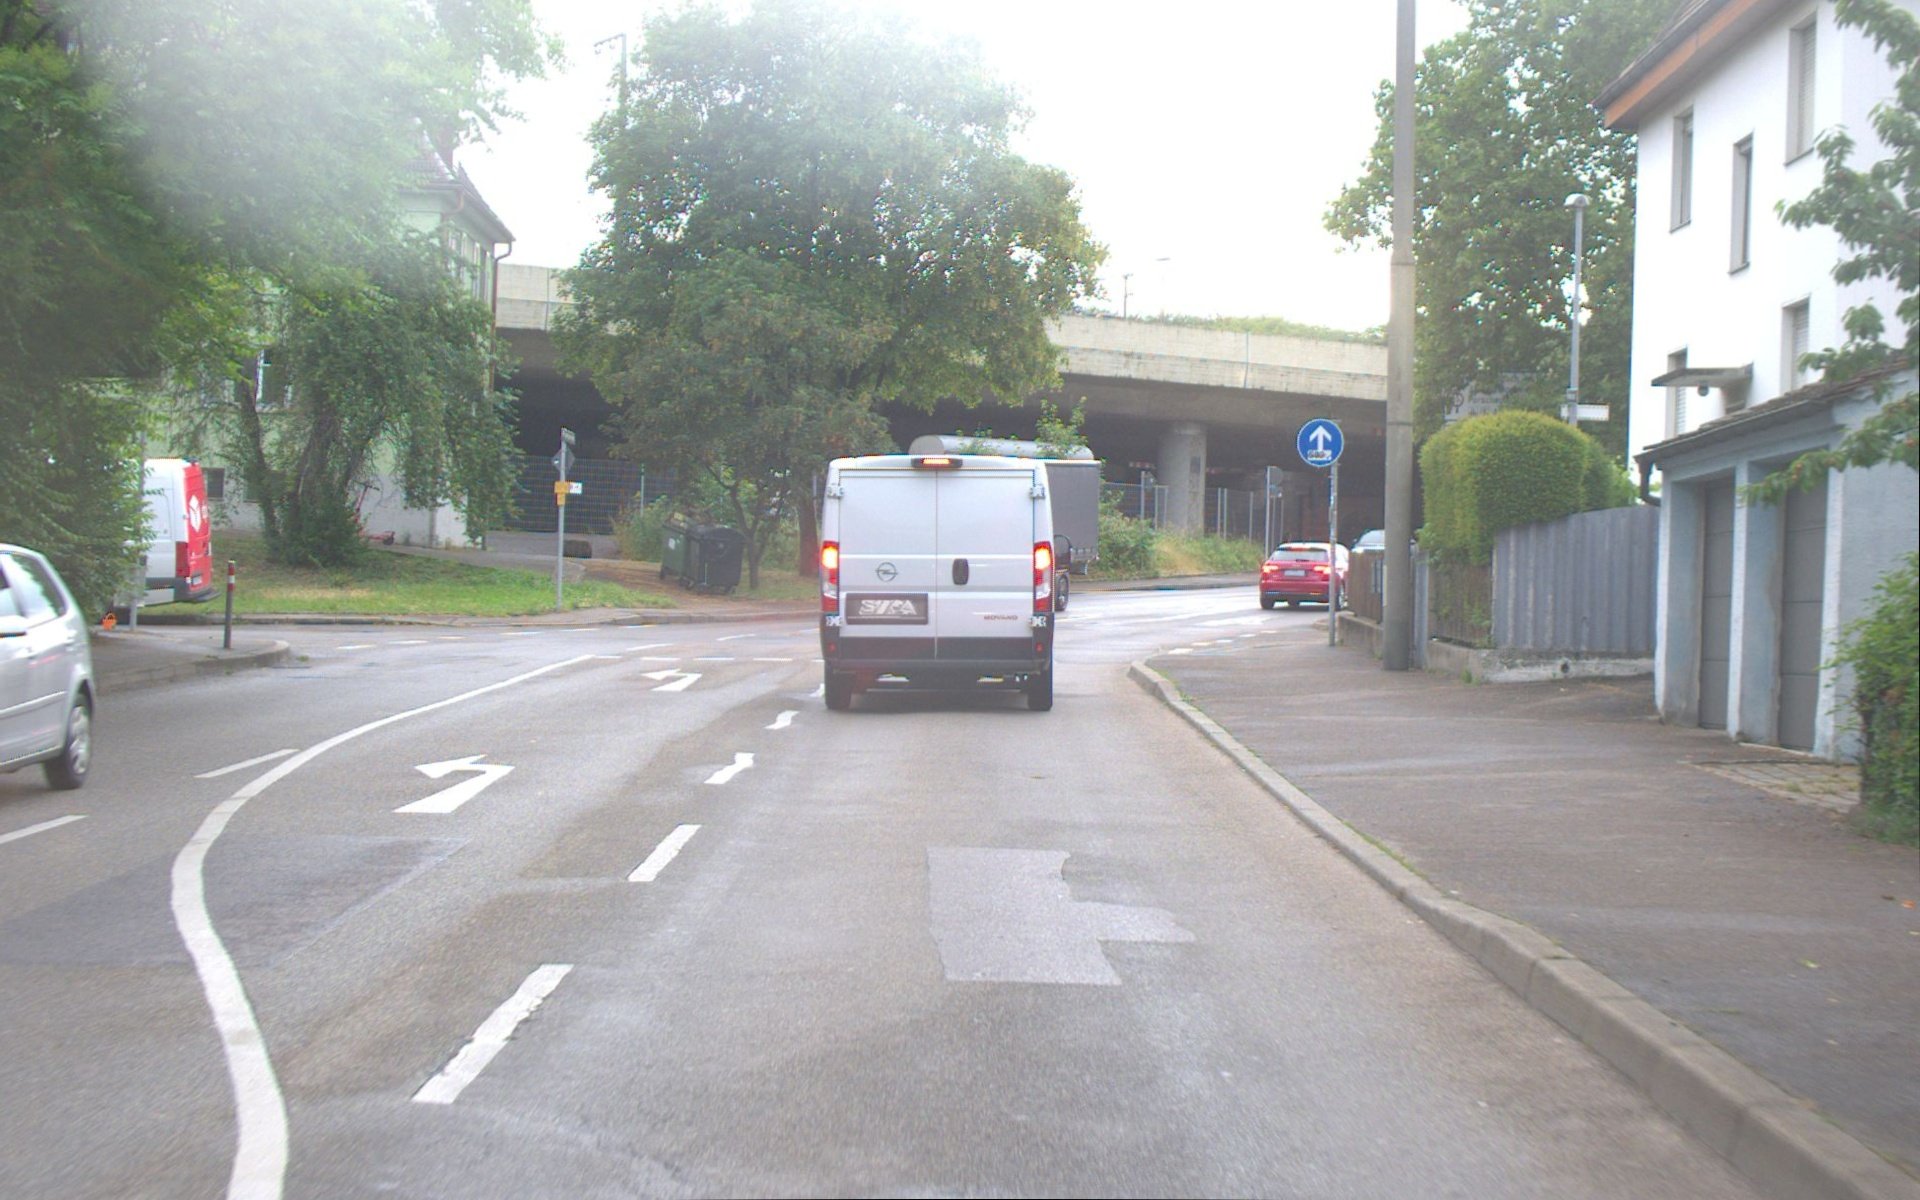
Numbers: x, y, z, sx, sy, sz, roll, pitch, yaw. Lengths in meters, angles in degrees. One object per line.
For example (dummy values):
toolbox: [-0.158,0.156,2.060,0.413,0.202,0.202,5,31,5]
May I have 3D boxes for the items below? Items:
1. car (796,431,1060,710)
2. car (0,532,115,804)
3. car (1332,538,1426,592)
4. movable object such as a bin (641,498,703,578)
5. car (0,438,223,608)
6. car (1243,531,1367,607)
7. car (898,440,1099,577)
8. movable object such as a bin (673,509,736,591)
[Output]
car: [-0.214,-0.301,31.917,2.146,2.275,5.063,3,1,1]
car: [-5.854,0.347,18.542,1.654,1.412,3.936,0,1,-1]
car: [12.700,-1.046,103.969,1.995,1.451,4.825,2,0,17]
movable object such as a bin: [-6.062,-1.305,72.370,0.940,1.558,1.130,8,2,4]
car: [-14.754,-1.277,55.854,5.046,2.619,2.153,2,1,-1]
car: [7.443,-0.655,73.911,1.767,1.505,3.751,3,1,19]
car: [1.007,-2.136,82.599,2.536,3.008,7.203,3,1,19]
movable object such as a bin: [-5.262,-1.037,70.876,0.940,1.558,1.130,8,2,4]
